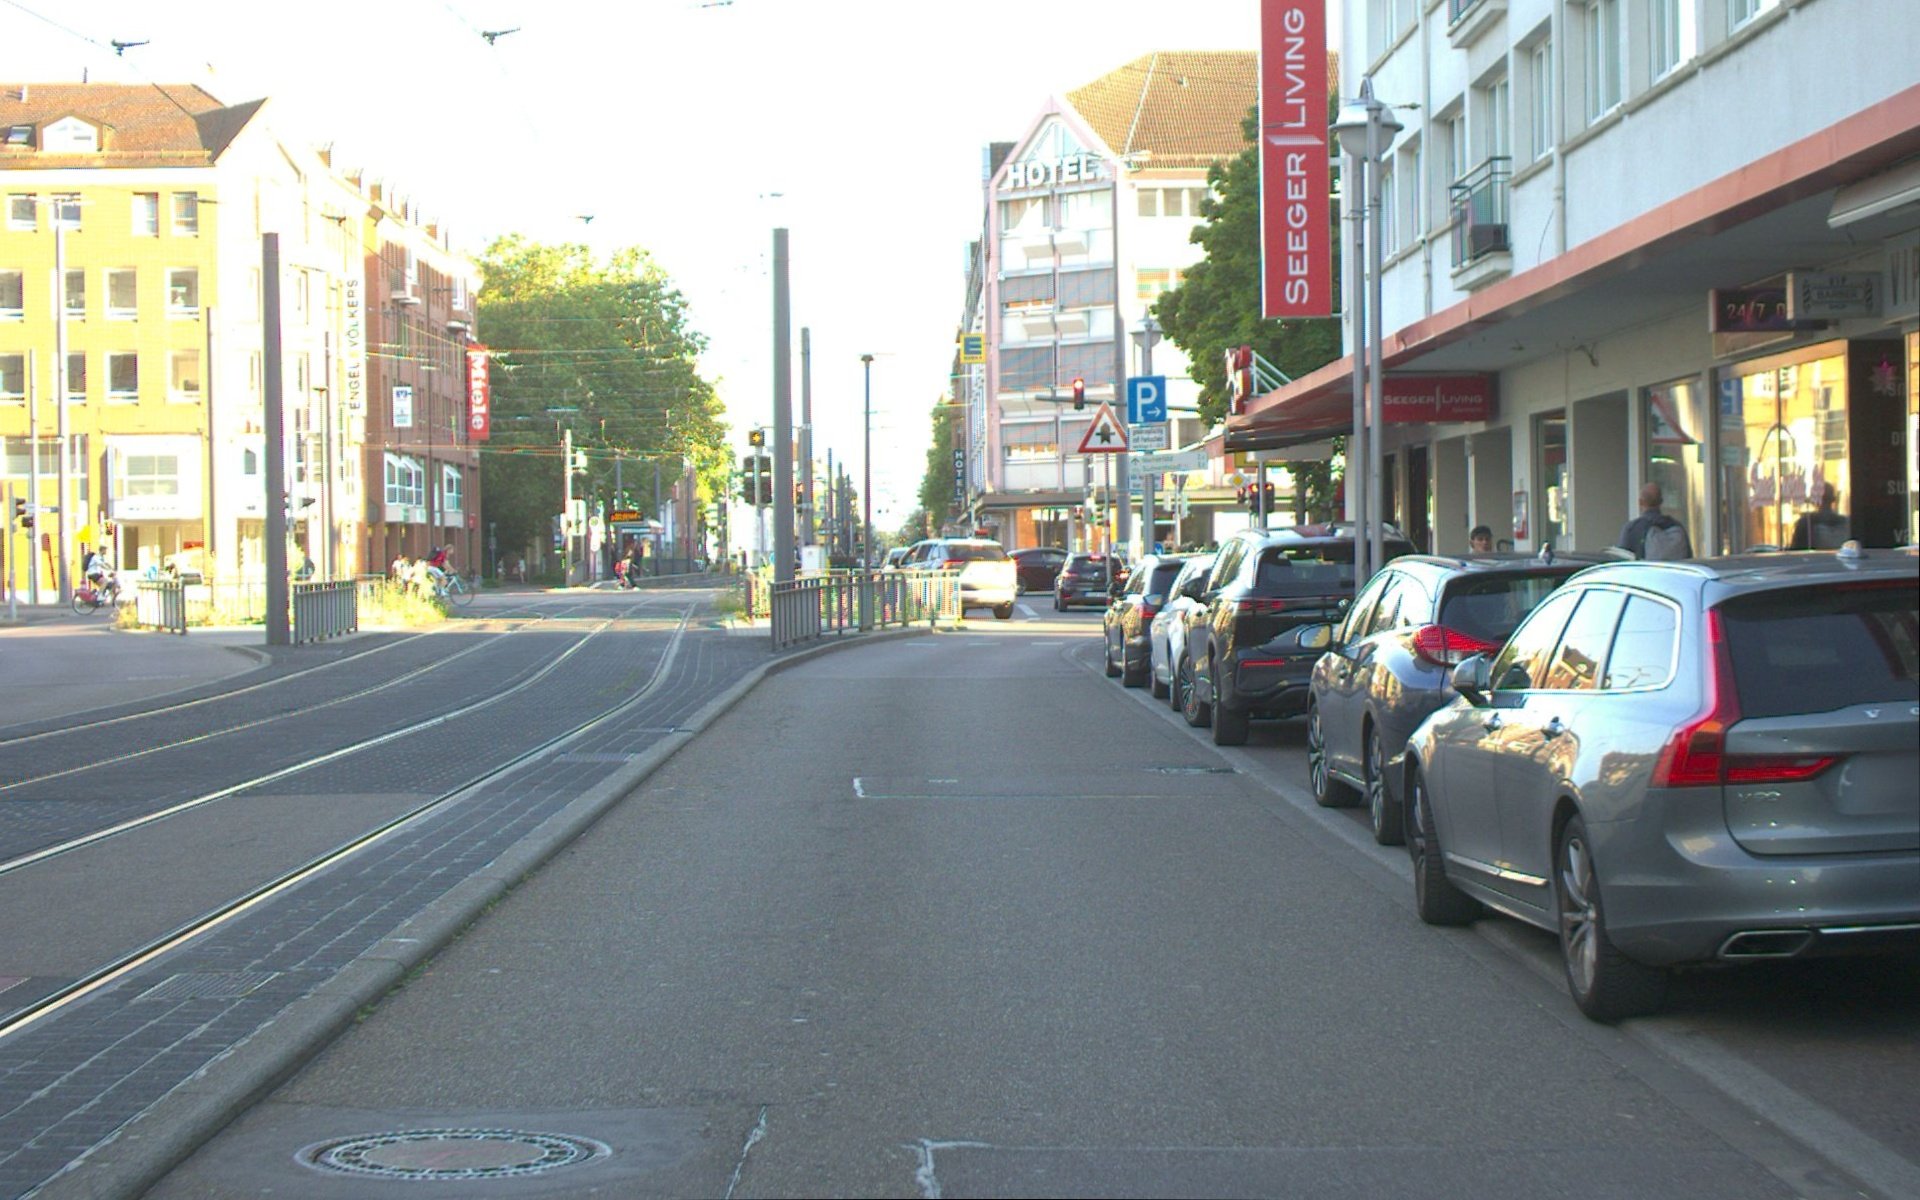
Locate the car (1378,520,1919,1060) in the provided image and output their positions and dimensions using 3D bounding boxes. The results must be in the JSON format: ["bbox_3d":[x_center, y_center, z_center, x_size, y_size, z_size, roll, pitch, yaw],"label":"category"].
[{"bbox_3d":[2.766,0.531,12.259,1.791,1.528,4.857,1,0,-2],"label":"car"}]

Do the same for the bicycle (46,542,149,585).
[{"bbox_3d":[-23.235,-0.984,92.640,2.639,1.096,0.435,1,0,-20],"label":"bicycle"}]

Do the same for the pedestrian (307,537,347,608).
[{"bbox_3d":[-12.376,-0.538,67.218,0.663,1.370,0.652,-1,1,-3],"label":"pedestrian"}]

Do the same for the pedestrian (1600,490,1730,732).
[{"bbox_3d":[5.580,0.081,27.267,0.774,1.874,0.935,-1,0,-2],"label":"pedestrian"}]

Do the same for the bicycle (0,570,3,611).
[{"bbox_3d":[-27.099,-0.287,92.324,2.639,1.096,0.435,1,0,-20],"label":"bicycle"}]

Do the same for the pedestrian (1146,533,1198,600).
[{"bbox_3d":[5.390,-0.851,87.486,0.823,1.679,1.048,1,0,-31],"label":"pedestrian"}]

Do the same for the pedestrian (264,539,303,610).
[{"bbox_3d":[-13.187,-0.493,66.986,0.663,1.370,0.652,0,1,-3],"label":"pedestrian"}]

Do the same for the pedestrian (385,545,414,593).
[{"bbox_3d":[-23.654,-1.318,145.157,1.093,2.007,0.909,1,0,-3],"label":"pedestrian"}]

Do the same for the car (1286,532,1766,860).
[{"bbox_3d":[2.878,0.410,18.417,1.781,1.517,4.357,1,1,-1],"label":"car"}]

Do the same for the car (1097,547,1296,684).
[{"bbox_3d":[2.578,0.144,38.445,1.790,1.408,4.688,1,0,-1],"label":"car"}]

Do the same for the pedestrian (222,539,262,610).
[{"bbox_3d":[-13.975,-0.501,66.918,0.663,1.370,0.652,-1,1,-3],"label":"pedestrian"}]

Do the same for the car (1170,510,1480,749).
[{"bbox_3d":[2.778,0.198,27.096,1.856,1.695,4.418,1,0,-1],"label":"car"}]

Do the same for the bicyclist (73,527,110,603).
[{"bbox_3d":[-23.386,-0.941,92.599,0.860,2.007,0.647,1,0,-21],"label":"bicyclist"}]

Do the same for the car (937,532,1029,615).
[{"bbox_3d":[0.476,-0.536,72.356,1.835,1.630,4.090,-2,-1,0],"label":"car"}]

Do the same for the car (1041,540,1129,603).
[{"bbox_3d":[2.977,-0.703,82.549,1.764,1.435,4.001,-1,1,-3],"label":"car"}]

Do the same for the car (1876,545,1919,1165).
[{"bbox_3d":[3.183,0.638,6.573,1.726,1.476,4.000,1,0,-1],"label":"car"}]

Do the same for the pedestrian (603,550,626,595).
[{"bbox_3d":[-14.238,-1.130,141.645,0.805,1.816,0.703,1,0,2],"label":"pedestrian"}]

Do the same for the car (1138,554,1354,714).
[{"bbox_3d":[2.688,0.291,33.122,1.651,1.416,4.191,1,0,-1],"label":"car"}]

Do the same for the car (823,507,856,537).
[{"bbox_3d":[-8.053,-5.176,229.343,1.993,1.894,4.000,1,0,0],"label":"car"}]

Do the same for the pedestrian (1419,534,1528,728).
[{"bbox_3d":[4.231,0.246,28.379,0.733,1.568,0.967,-1,1,-1],"label":"pedestrian"}]

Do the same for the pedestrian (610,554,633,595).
[{"bbox_3d":[-13.869,-1.034,140.957,0.805,1.658,0.703,1,0,3],"label":"pedestrian"}]

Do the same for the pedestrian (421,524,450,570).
[{"bbox_3d":[-22.965,-2.323,150.509,1.093,2.007,1.163,1,0,-3],"label":"pedestrian"}]
